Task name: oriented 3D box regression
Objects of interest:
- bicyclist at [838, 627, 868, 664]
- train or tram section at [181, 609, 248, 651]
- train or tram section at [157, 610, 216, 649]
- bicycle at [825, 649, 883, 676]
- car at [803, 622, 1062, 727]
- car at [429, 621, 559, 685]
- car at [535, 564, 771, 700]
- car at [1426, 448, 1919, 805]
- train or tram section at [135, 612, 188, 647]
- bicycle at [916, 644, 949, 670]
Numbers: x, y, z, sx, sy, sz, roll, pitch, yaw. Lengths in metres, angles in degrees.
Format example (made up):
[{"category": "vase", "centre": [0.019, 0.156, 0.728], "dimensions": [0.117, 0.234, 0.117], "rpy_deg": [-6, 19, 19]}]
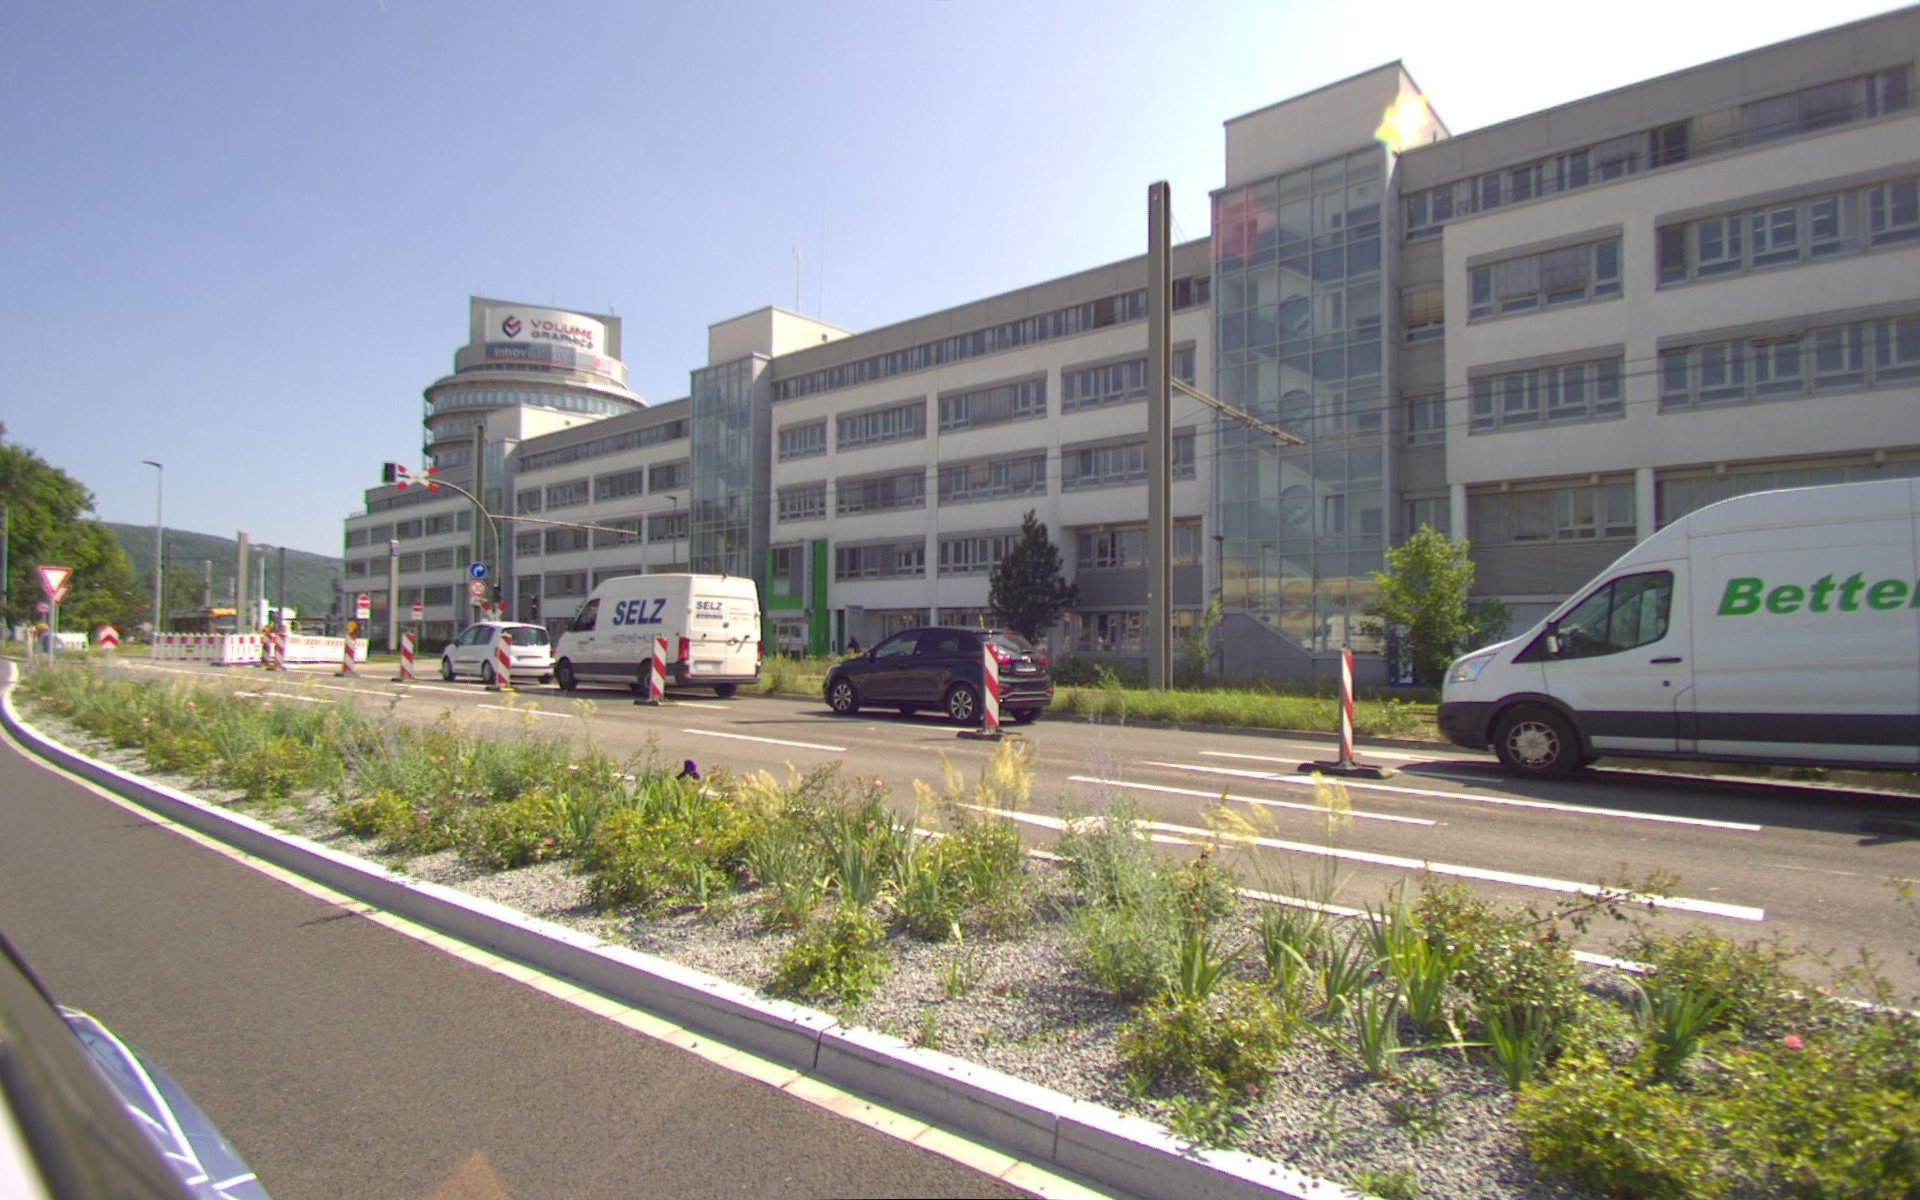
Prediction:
[{"category": "bicyclist", "centre": [-4.557, 1.914, 43.015], "dimensions": [1.077, 1.551, 0.746], "rpy_deg": [-1, -2, 42]}, {"category": "train or tram section", "centre": [-65.575, 2.593, 88.889], "dimensions": [11.781, 3.477, 2.596], "rpy_deg": [-2, -1, 43]}, {"category": "train or tram section", "centre": [-74.180, 2.822, 96.913], "dimensions": [11.781, 3.477, 2.596], "rpy_deg": [-2, -1, 43]}, {"category": "bicycle", "centre": [-4.510, 2.623, 42.957], "dimensions": [2.830, 1.025, 0.746], "rpy_deg": [-1, -1, 42]}, {"category": "car", "centre": [-0.533, 1.135, 16.127], "dimensions": [4.191, 1.468, 1.529], "rpy_deg": [-2, -5, 42]}, {"category": "car", "centre": [-12.210, 1.372, 26.427], "dimensions": [3.976, 1.553, 1.564], "rpy_deg": [-2, -5, 42]}, {"category": "car", "centre": [-6.902, 0.749, 22.255], "dimensions": [6.193, 2.598, 2.008], "rpy_deg": [-2, -5, 43]}, {"category": "car", "centre": [7.627, 0.263, 9.036], "dimensions": [5.985, 2.761, 2.055], "rpy_deg": [-2, -4, 42]}, {"category": "train or tram section", "centre": [-82.831, 3.058, 104.886], "dimensions": [11.781, 3.477, 2.596], "rpy_deg": [-2, -1, 43]}, {"category": "bicycle", "centre": [-1.337, 2.758, 49.144], "dimensions": [1.627, 1.198, 0.522], "rpy_deg": [0, -1, -44]}]
